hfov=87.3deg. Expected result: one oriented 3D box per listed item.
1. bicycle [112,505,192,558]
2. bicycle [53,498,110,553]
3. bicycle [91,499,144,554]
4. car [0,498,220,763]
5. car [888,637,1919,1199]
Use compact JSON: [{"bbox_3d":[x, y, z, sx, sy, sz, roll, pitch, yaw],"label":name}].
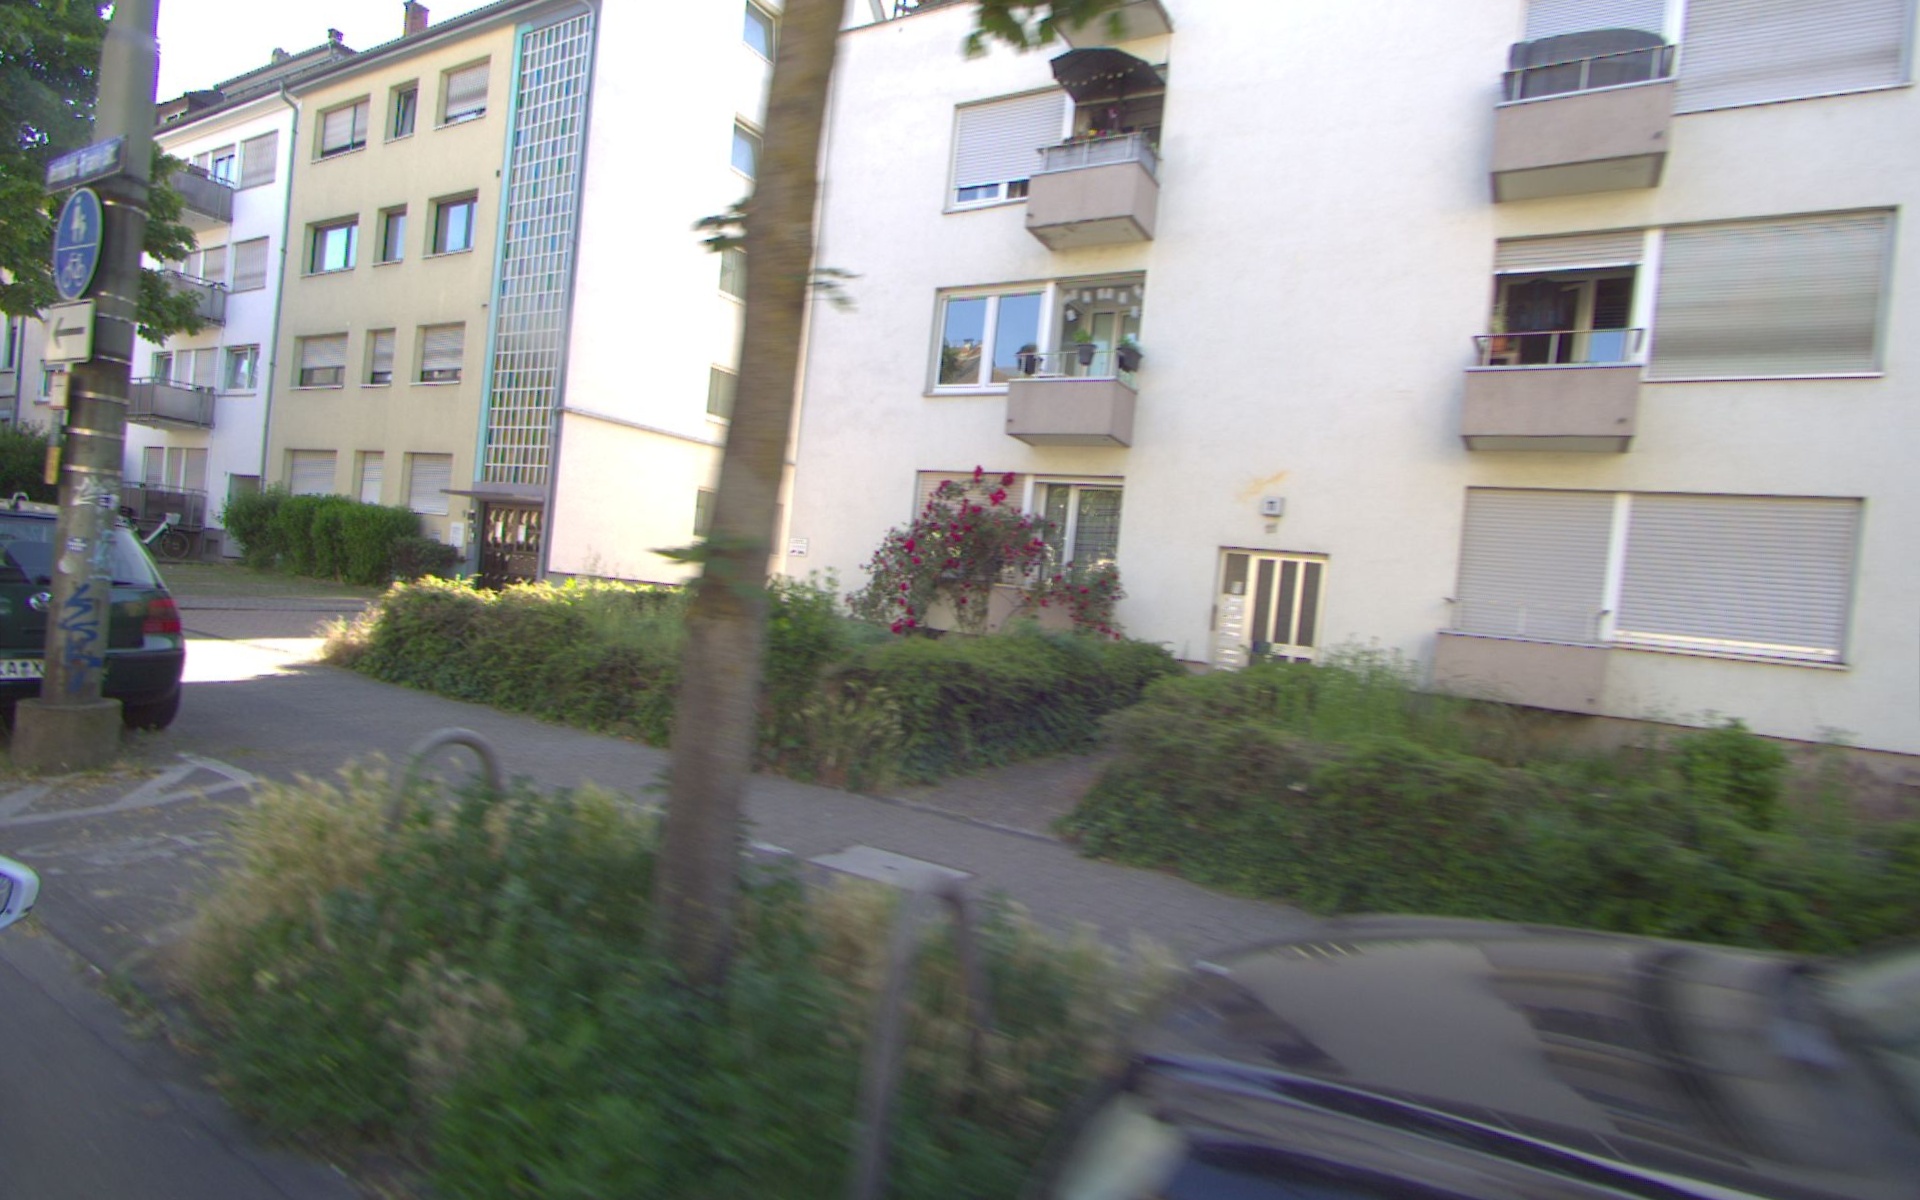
[{"bbox_3d":[-21.014,-1.770,26.196,1.521,1.239,0.460,4,4,-28],"label":"bicycle"},{"bbox_3d":[-22.998,-1.957,26.328,1.812,1.305,0.623,7,4,32],"label":"bicycle"},{"bbox_3d":[-22.483,-1.967,26.830,1.661,1.305,0.591,7,4,32],"label":"bicycle"},{"bbox_3d":[-6.925,0.005,6.811,4.080,1.446,1.693,6,1,33],"label":"car"},{"bbox_3d":[2.156,1.000,1.050,4.381,1.414,1.586,7,2,32],"label":"car"}]
